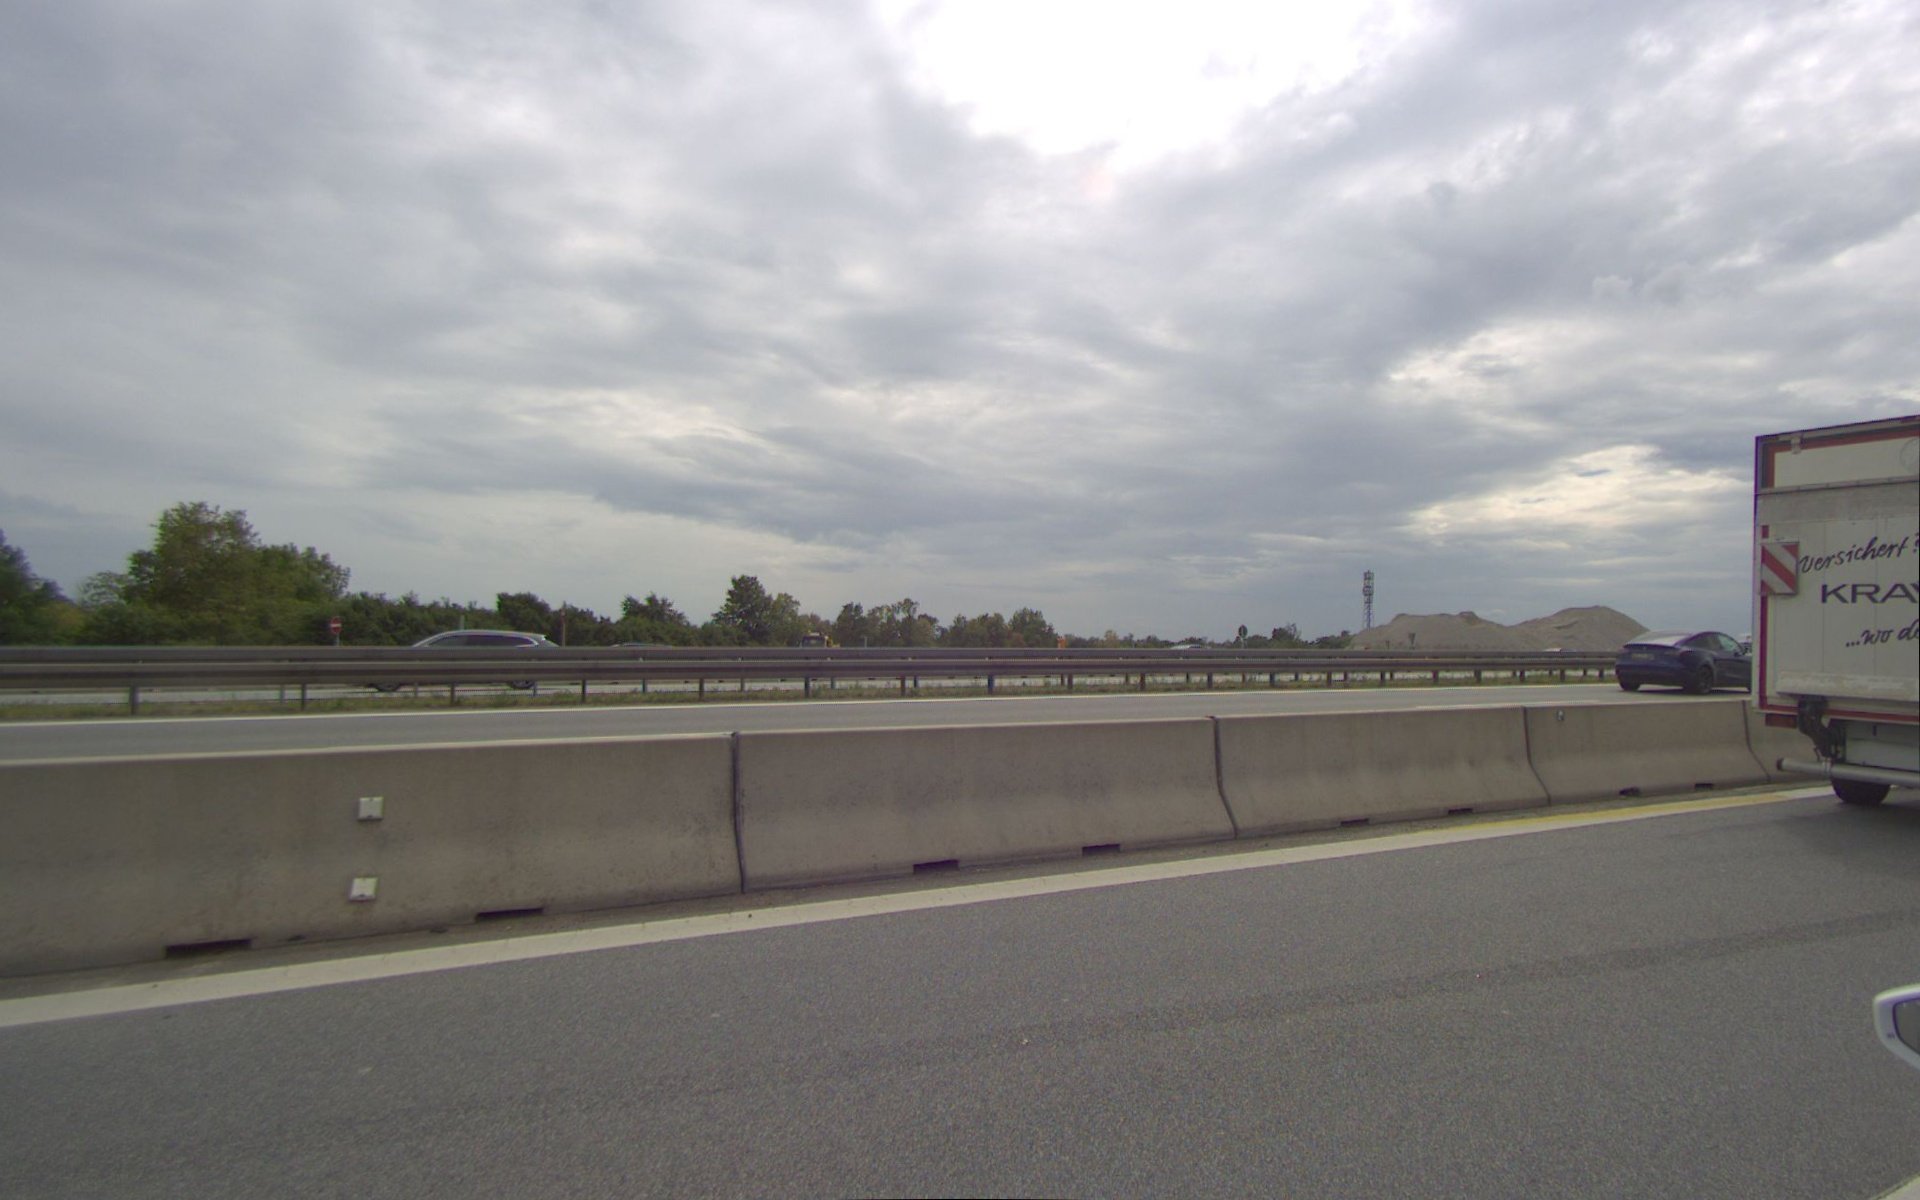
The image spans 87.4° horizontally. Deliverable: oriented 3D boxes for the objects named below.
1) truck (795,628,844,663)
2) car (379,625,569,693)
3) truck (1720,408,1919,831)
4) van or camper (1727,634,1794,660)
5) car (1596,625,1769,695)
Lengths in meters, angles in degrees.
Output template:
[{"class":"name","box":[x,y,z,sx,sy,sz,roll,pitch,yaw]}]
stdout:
[{"class":"truck","box":[-12.006,3.861,86.778,2.858,2.810,8.783,1,-1,1]},{"class":"car","box":[-11.647,1.387,24.212,3.954,1.504,1.680,2,-1,-28]},{"class":"truck","box":[9.853,0.223,8.969,6.288,3.131,2.396,2,-1,-27]},{"class":"van or camper","box":[64.850,3.802,81.326,6.205,2.040,2.224,2,-1,-31]},{"class":"car","box":[18.831,1.529,26.161,4.329,1.684,1.986,2,-1,-28]}]
